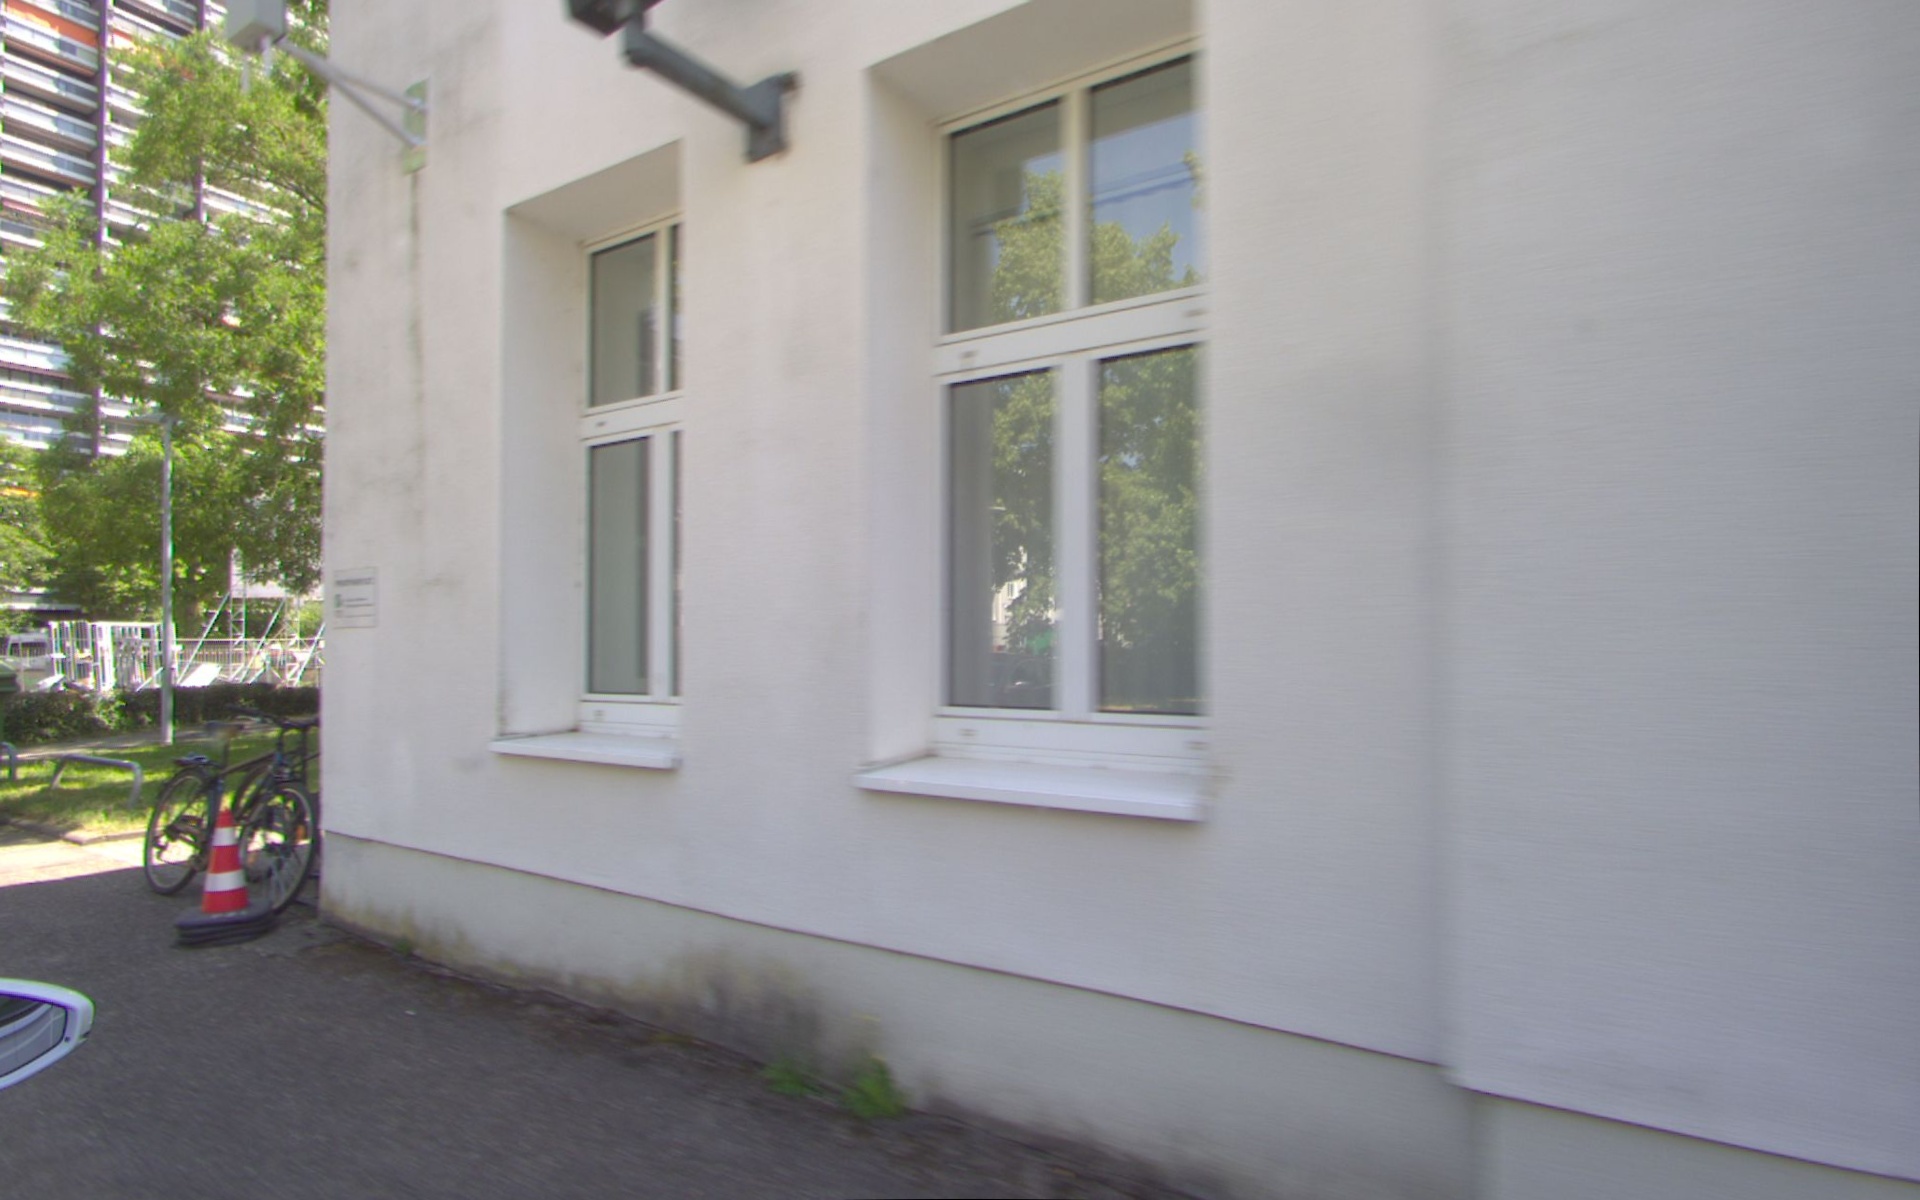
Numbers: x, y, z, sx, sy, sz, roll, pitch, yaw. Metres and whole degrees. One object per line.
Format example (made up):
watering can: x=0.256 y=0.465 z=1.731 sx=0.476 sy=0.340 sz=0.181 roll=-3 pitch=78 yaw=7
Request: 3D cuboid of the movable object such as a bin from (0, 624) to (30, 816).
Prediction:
movable object such as a bin: x=-8.171 y=0.934 z=7.802 sx=1.358 sy=1.476 sz=1.073 roll=-2 pitch=-2 yaw=34

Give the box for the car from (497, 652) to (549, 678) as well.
car: x=-24.001 y=3.529 z=54.929 sx=1.896 sy=1.326 sz=3.906 roll=1 pitch=-3 yaw=-35

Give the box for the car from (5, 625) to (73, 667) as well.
car: x=-52.569 y=2.614 z=57.251 sx=2.164 sy=2.286 sz=4.838 roll=1 pitch=-3 yaw=-35

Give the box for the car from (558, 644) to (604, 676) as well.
car: x=-20.864 y=3.274 z=55.069 sx=1.987 sy=1.650 sz=3.916 roll=1 pitch=-3 yaw=-26

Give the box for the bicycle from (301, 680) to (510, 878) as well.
bicycle: x=-3.618 y=1.088 z=6.475 sx=1.801 sy=1.115 sz=0.404 roll=-2 pitch=-2 yaw=34

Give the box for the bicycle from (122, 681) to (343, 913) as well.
bicycle: x=-4.134 y=1.031 z=5.640 sx=1.801 sy=1.115 sz=0.404 roll=-2 pitch=-2 yaw=34

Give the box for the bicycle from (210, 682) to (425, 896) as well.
bicycle: x=-3.923 y=1.072 z=6.060 sx=1.801 sy=1.115 sz=0.404 roll=-2 pitch=-2 yaw=34
